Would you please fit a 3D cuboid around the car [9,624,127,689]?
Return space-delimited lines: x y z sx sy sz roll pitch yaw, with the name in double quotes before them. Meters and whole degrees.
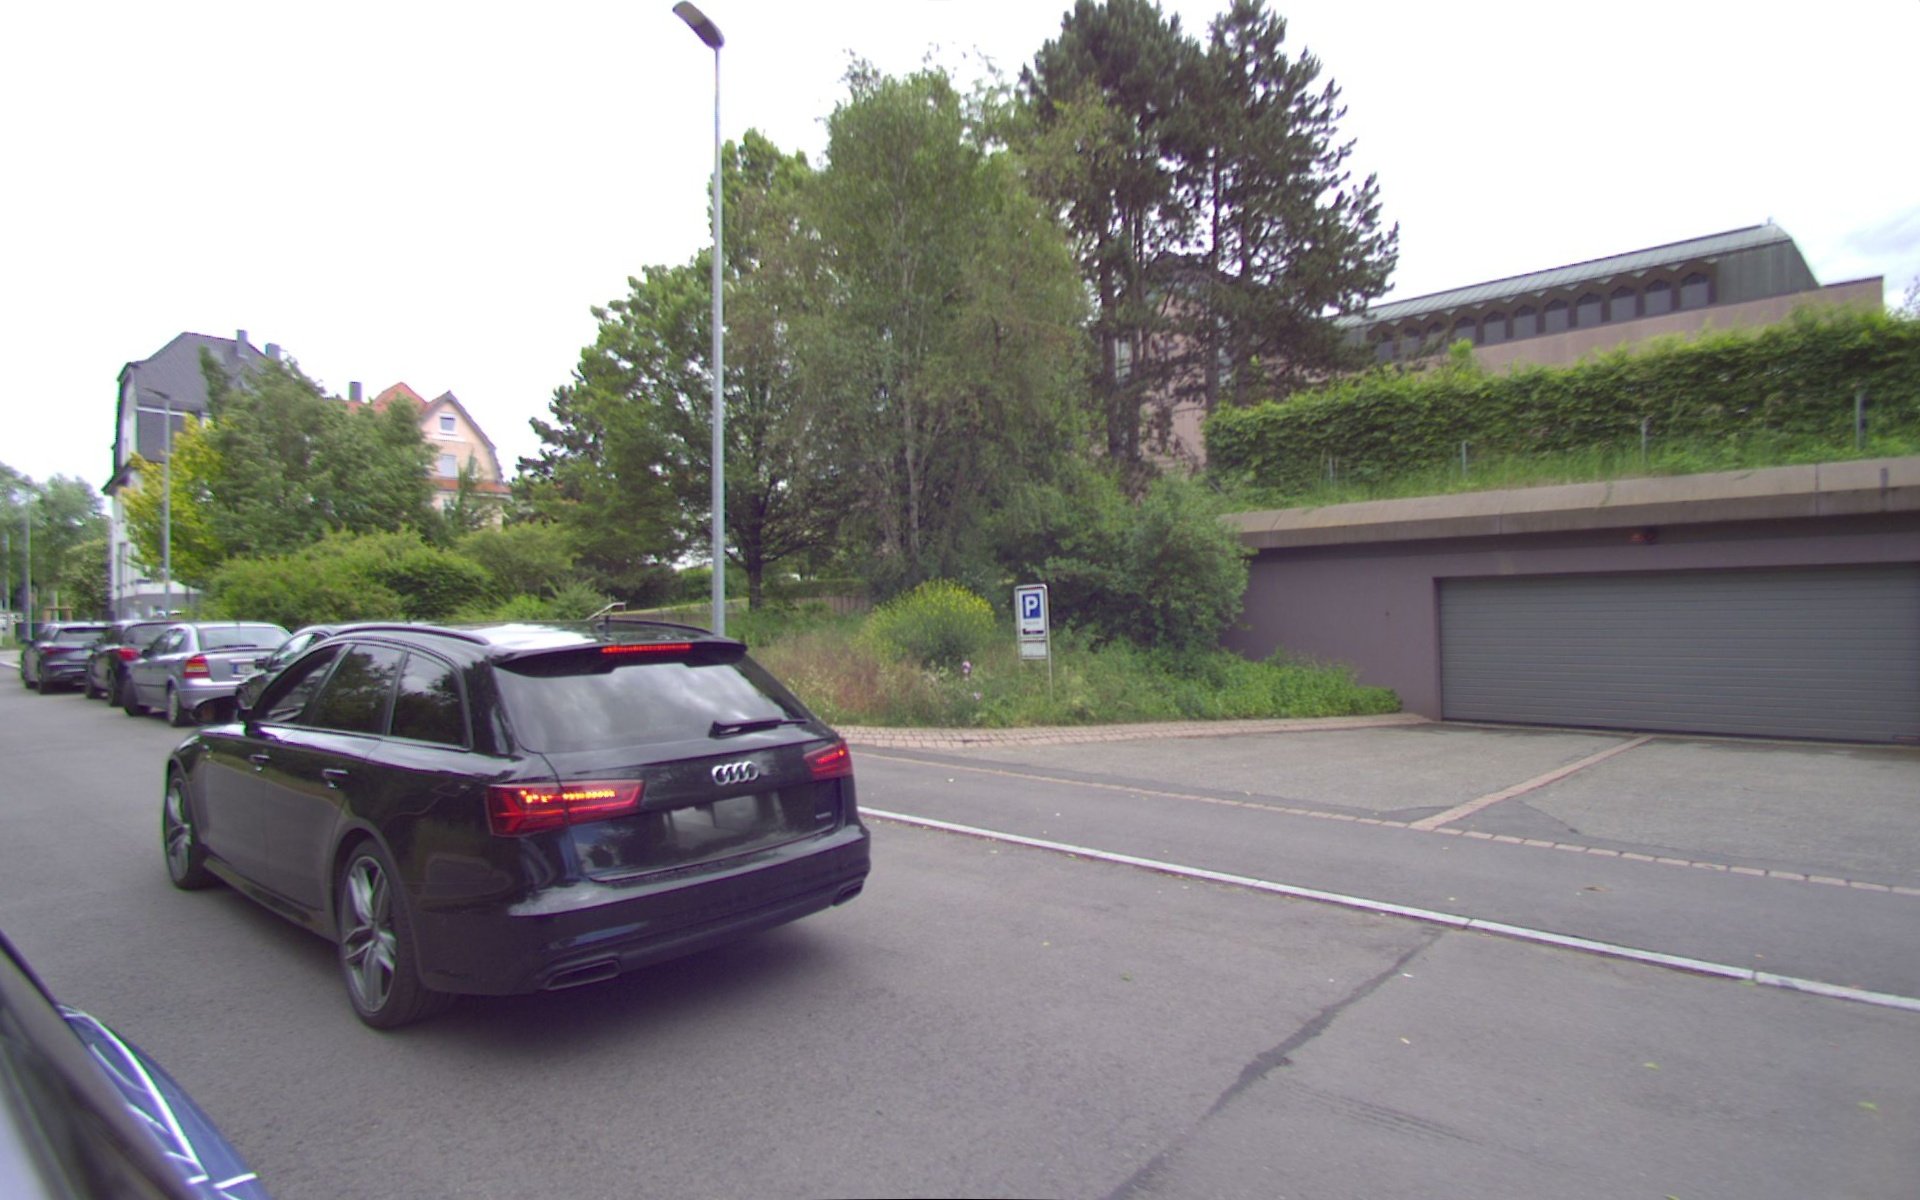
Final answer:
"car" -22.434 1.351 25.389 4.691 1.494 1.665 -1 -2 42

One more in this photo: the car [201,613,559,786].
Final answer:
"car" -6.438 0.898 10.927 5.102 1.442 1.760 -1 -1 41

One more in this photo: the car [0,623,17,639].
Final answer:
"car" -91.130 2.970 96.280 1.709 1.439 3.465 2 -1 -37

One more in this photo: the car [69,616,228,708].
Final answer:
"car" -14.909 1.066 18.522 3.999 1.494 1.607 -1 -2 42

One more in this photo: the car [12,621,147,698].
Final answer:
"car" -18.999 1.216 21.773 4.495 1.494 1.688 -1 -2 42

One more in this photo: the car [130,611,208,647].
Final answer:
"car" -39.075 1.406 49.954 4.590 1.544 1.888 0 3 37

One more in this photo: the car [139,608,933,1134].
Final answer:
"car" -2.384 0.793 4.945 4.486 1.436 1.762 -1 -1 41

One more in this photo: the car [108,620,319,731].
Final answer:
"car" -11.305 1.038 15.212 4.348 1.443 1.607 -1 -2 41
